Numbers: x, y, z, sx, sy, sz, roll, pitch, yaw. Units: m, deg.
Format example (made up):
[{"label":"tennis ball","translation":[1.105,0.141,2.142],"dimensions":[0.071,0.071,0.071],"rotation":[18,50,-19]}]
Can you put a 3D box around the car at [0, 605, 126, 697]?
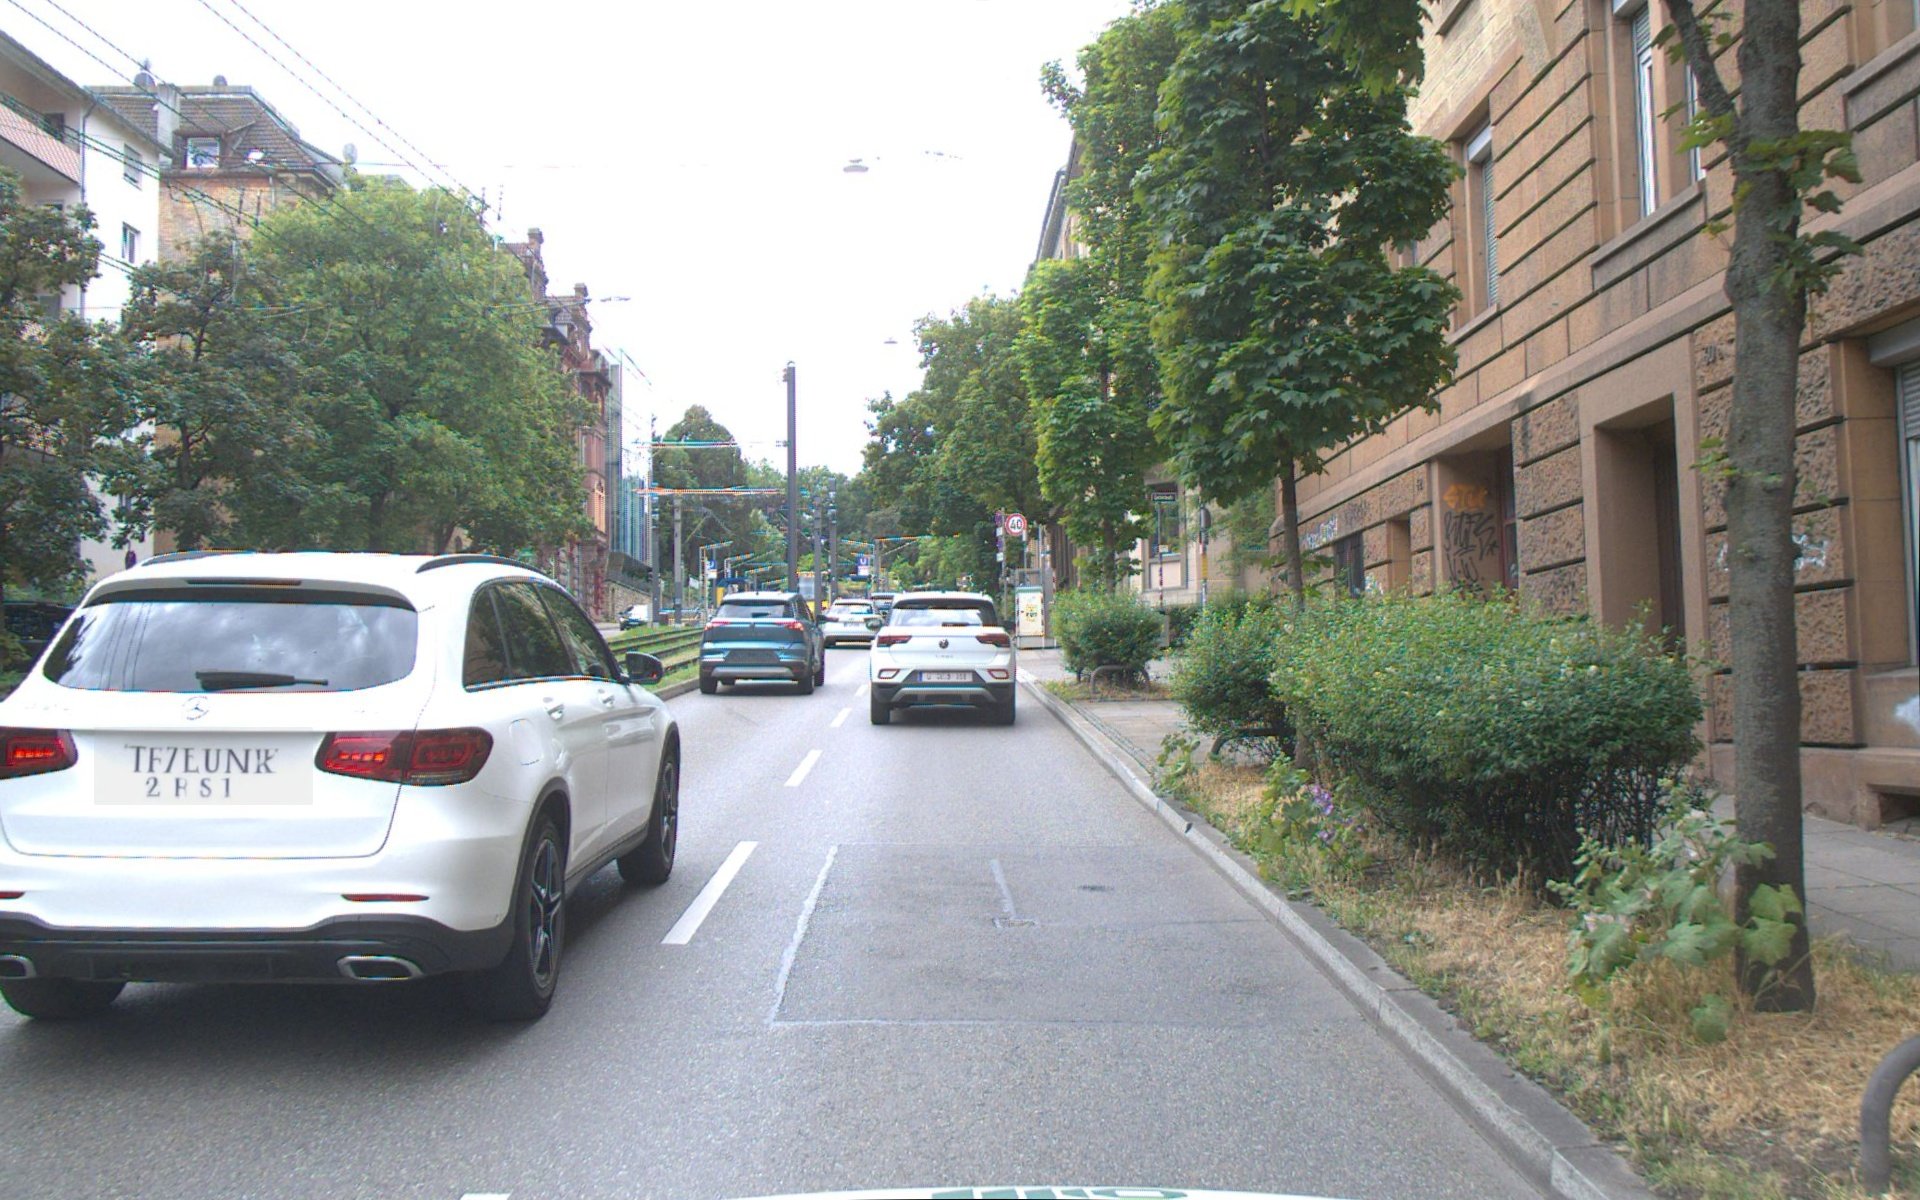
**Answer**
[{"label":"car","translation":[-18.567,0.947,31.533],"dimensions":[4.552,1.711,1.913],"rotation":[1,0,-35]}]

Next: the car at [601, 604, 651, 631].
[{"label":"car","translation":[-18.703,0.959,92.697],"dimensions":[1.953,1.427,4.000],"rotation":[-1,0,0]}]

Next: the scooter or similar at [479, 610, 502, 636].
[{"label":"scooter or similar","translation":[-23.625,1.145,83.247],"dimensions":[0.616,1.277,2.213],"rotation":[-1,0,-3]}]

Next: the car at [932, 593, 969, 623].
[{"label":"car","translation":[-0.527,0.449,91.560],"dimensions":[2.026,1.573,4.193],"rotation":[0,0,-1]}]

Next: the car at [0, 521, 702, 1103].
[{"label":"car","translation":[-2.341,0.629,7.172],"dimensions":[1.798,1.696,4.669],"rotation":[0,0,-1]}]

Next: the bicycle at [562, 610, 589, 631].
[{"label":"bicycle","translation":[-21.667,1.148,93.232],"dimensions":[0.919,1.119,2.702],"rotation":[-1,0,-1]}]

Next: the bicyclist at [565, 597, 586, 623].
[{"label":"bicyclist","translation":[-21.679,0.580,93.277],"dimensions":[0.919,1.450,1.187],"rotation":[-1,0,-1]}]

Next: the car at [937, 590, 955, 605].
[{"label":"car","translation":[-1.578,-0.277,188.517],"dimensions":[2.026,1.573,4.193],"rotation":[0,0,-1]}]

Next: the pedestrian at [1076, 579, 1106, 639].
[{"label":"pedestrian","translation":[3.774,0.253,47.616],"dimensions":[0.695,1.691,1.128],"rotation":[-1,0,10]}]

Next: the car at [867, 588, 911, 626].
[{"label":"car","translation":[-3.050,0.291,71.727],"dimensions":[1.798,1.573,4.193],"rotation":[0,0,-1]}]

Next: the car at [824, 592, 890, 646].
[{"label":"car","translation":[-3.144,0.577,50.939],"dimensions":[1.798,1.573,4.193],"rotation":[0,0,-1]}]

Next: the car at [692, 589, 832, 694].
[{"label":"car","translation":[-3.129,0.630,26.900],"dimensions":[1.798,1.573,4.193],"rotation":[0,0,-1]}]

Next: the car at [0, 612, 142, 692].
[{"label":"car","translation":[-19.497,1.052,34.044],"dimensions":[4.552,1.575,1.913],"rotation":[1,0,-35]}]

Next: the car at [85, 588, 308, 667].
[{"label":"car","translation":[-18.612,0.659,40.476],"dimensions":[1.902,1.829,4.579],"rotation":[0,-1,42]}]

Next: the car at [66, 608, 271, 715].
[{"label":"car","translation":[-12.158,0.896,25.638],"dimensions":[1.556,1.460,3.411],"rotation":[-3,0,-2]}]

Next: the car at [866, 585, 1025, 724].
[{"label":"car","translation":[-0.230,0.636,20.999],"dimensions":[1.798,1.573,4.192],"rotation":[0,0,-2]}]

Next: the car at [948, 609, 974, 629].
[{"label":"car","translation":[0.047,1.523,132.967],"dimensions":[2.026,1.573,4.193],"rotation":[0,0,-1]}]

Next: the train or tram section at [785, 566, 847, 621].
[{"label":"train or tram section","translation":[-9.557,-0.388,111.327],"dimensions":[2.934,3.407,13.437],"rotation":[-1,0,0]}]
